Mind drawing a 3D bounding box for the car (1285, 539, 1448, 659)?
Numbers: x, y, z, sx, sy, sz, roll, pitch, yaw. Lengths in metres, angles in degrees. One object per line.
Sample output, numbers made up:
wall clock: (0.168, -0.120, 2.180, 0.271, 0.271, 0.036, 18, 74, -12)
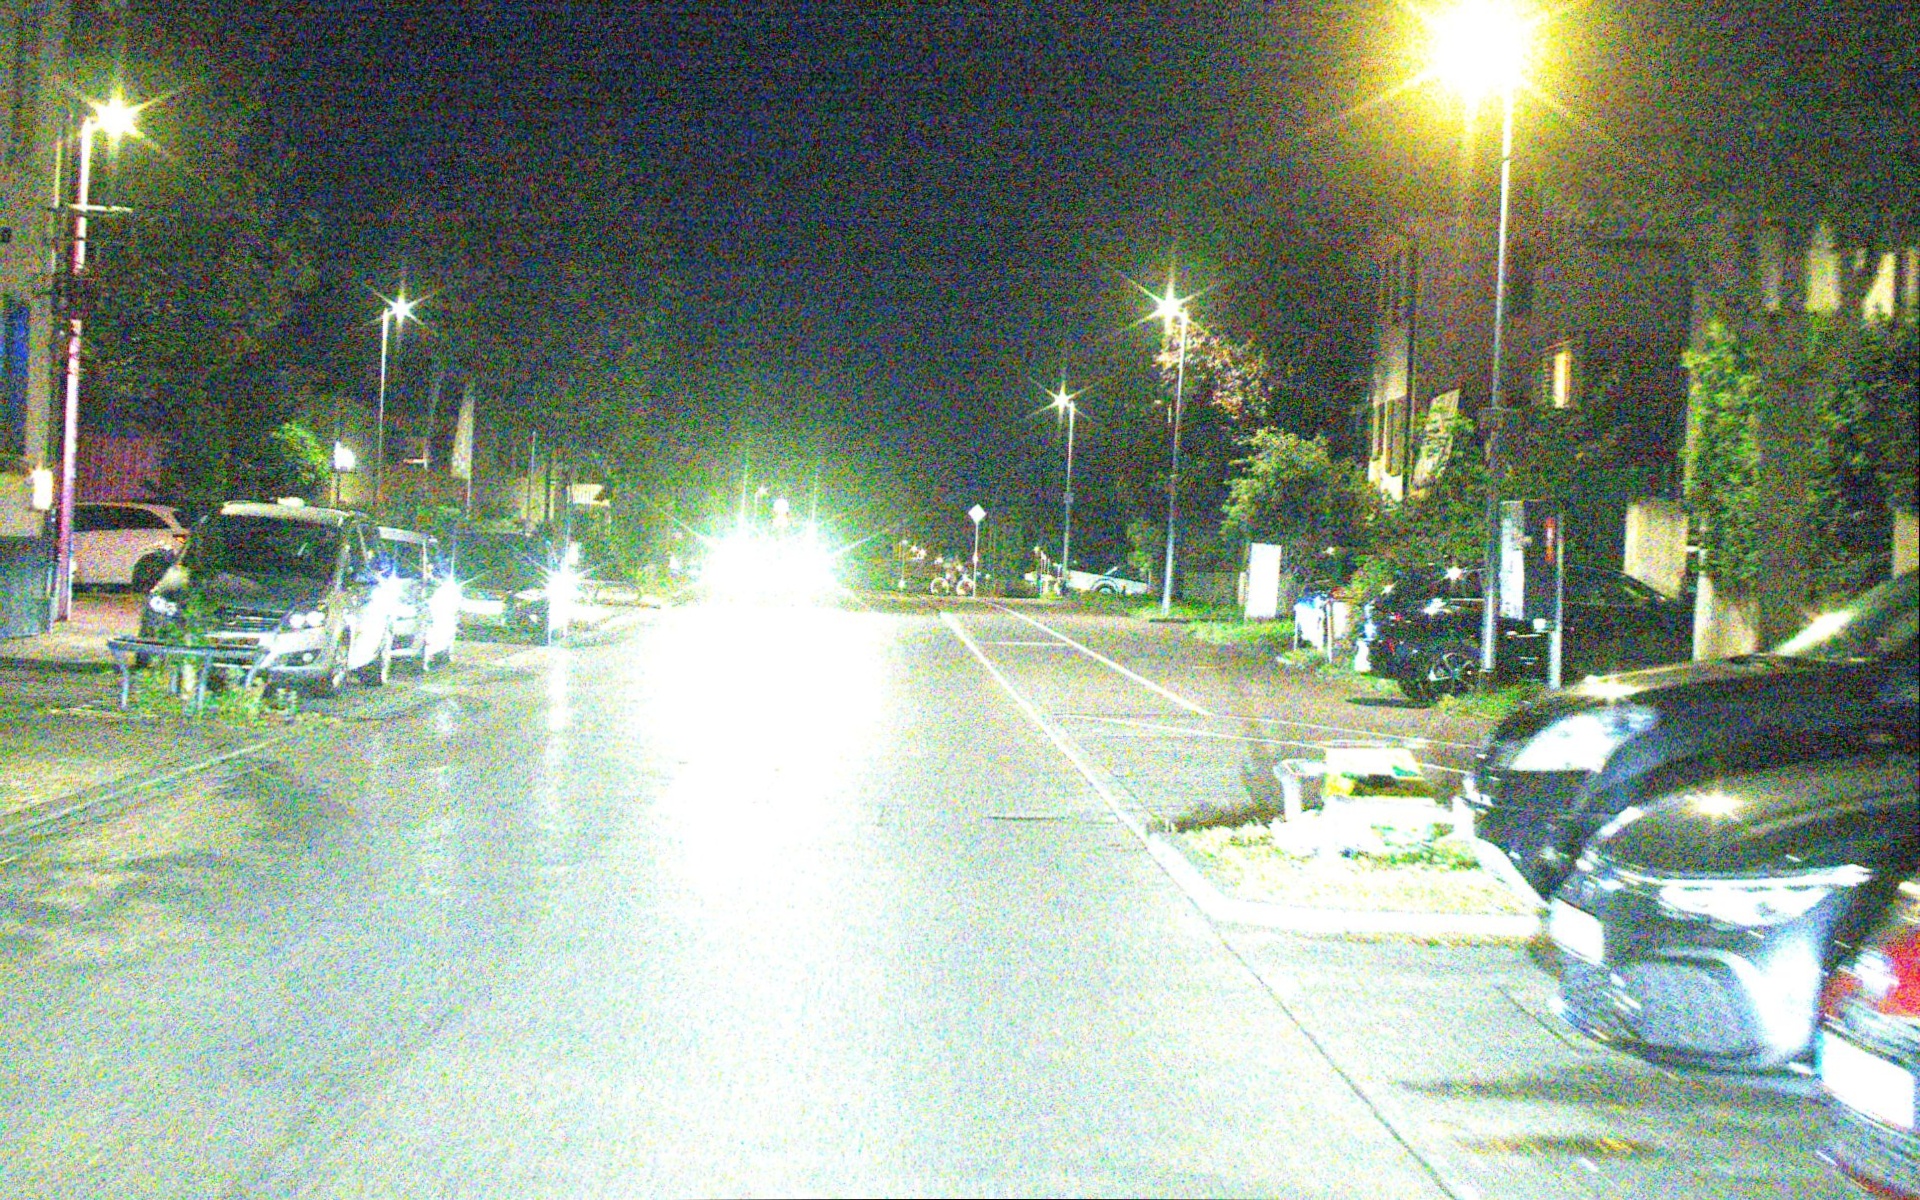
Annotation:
car: (5.615, -0.050, 47.829, 1.639, 1.554, 3.679, 2, 1, -2)

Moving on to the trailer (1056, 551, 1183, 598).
trailer: (4.559, -0.727, 98.863, 3.432, 0.999, 1.954, 6, 0, -1)

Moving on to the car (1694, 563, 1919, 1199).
car: (3.706, 0.736, 7.103, 3.915, 1.509, 1.855, 2, 0, -2)

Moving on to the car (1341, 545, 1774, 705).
car: (5.840, 0.225, 33.932, 3.904, 1.481, 1.833, 1, 1, -1)

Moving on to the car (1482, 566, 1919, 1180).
car: (3.632, 0.723, 9.668, 3.915, 1.508, 1.855, 2, 1, -4)

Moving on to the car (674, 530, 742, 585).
car: (-7.789, -1.312, 106.471, 1.672, 1.585, 3.987, 3, 0, 1)

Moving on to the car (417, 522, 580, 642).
car: (-6.186, -0.274, 46.473, 1.749, 1.463, 4.009, 3, 1, -2)

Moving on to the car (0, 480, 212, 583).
car: (-14.686, -1.150, 57.813, 3.986, 1.697, 1.949, 0, 1, -8)

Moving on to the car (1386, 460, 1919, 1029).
car: (3.773, 0.494, 12.152, 4.355, 1.810, 2.031, 2, 1, 4)

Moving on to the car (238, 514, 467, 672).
car: (-6.324, -0.108, 36.157, 1.770, 1.463, 3.967, 4, 1, -2)

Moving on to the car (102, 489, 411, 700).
car: (-6.199, -0.090, 30.788, 1.928, 1.631, 4.471, 4, 1, -2)
